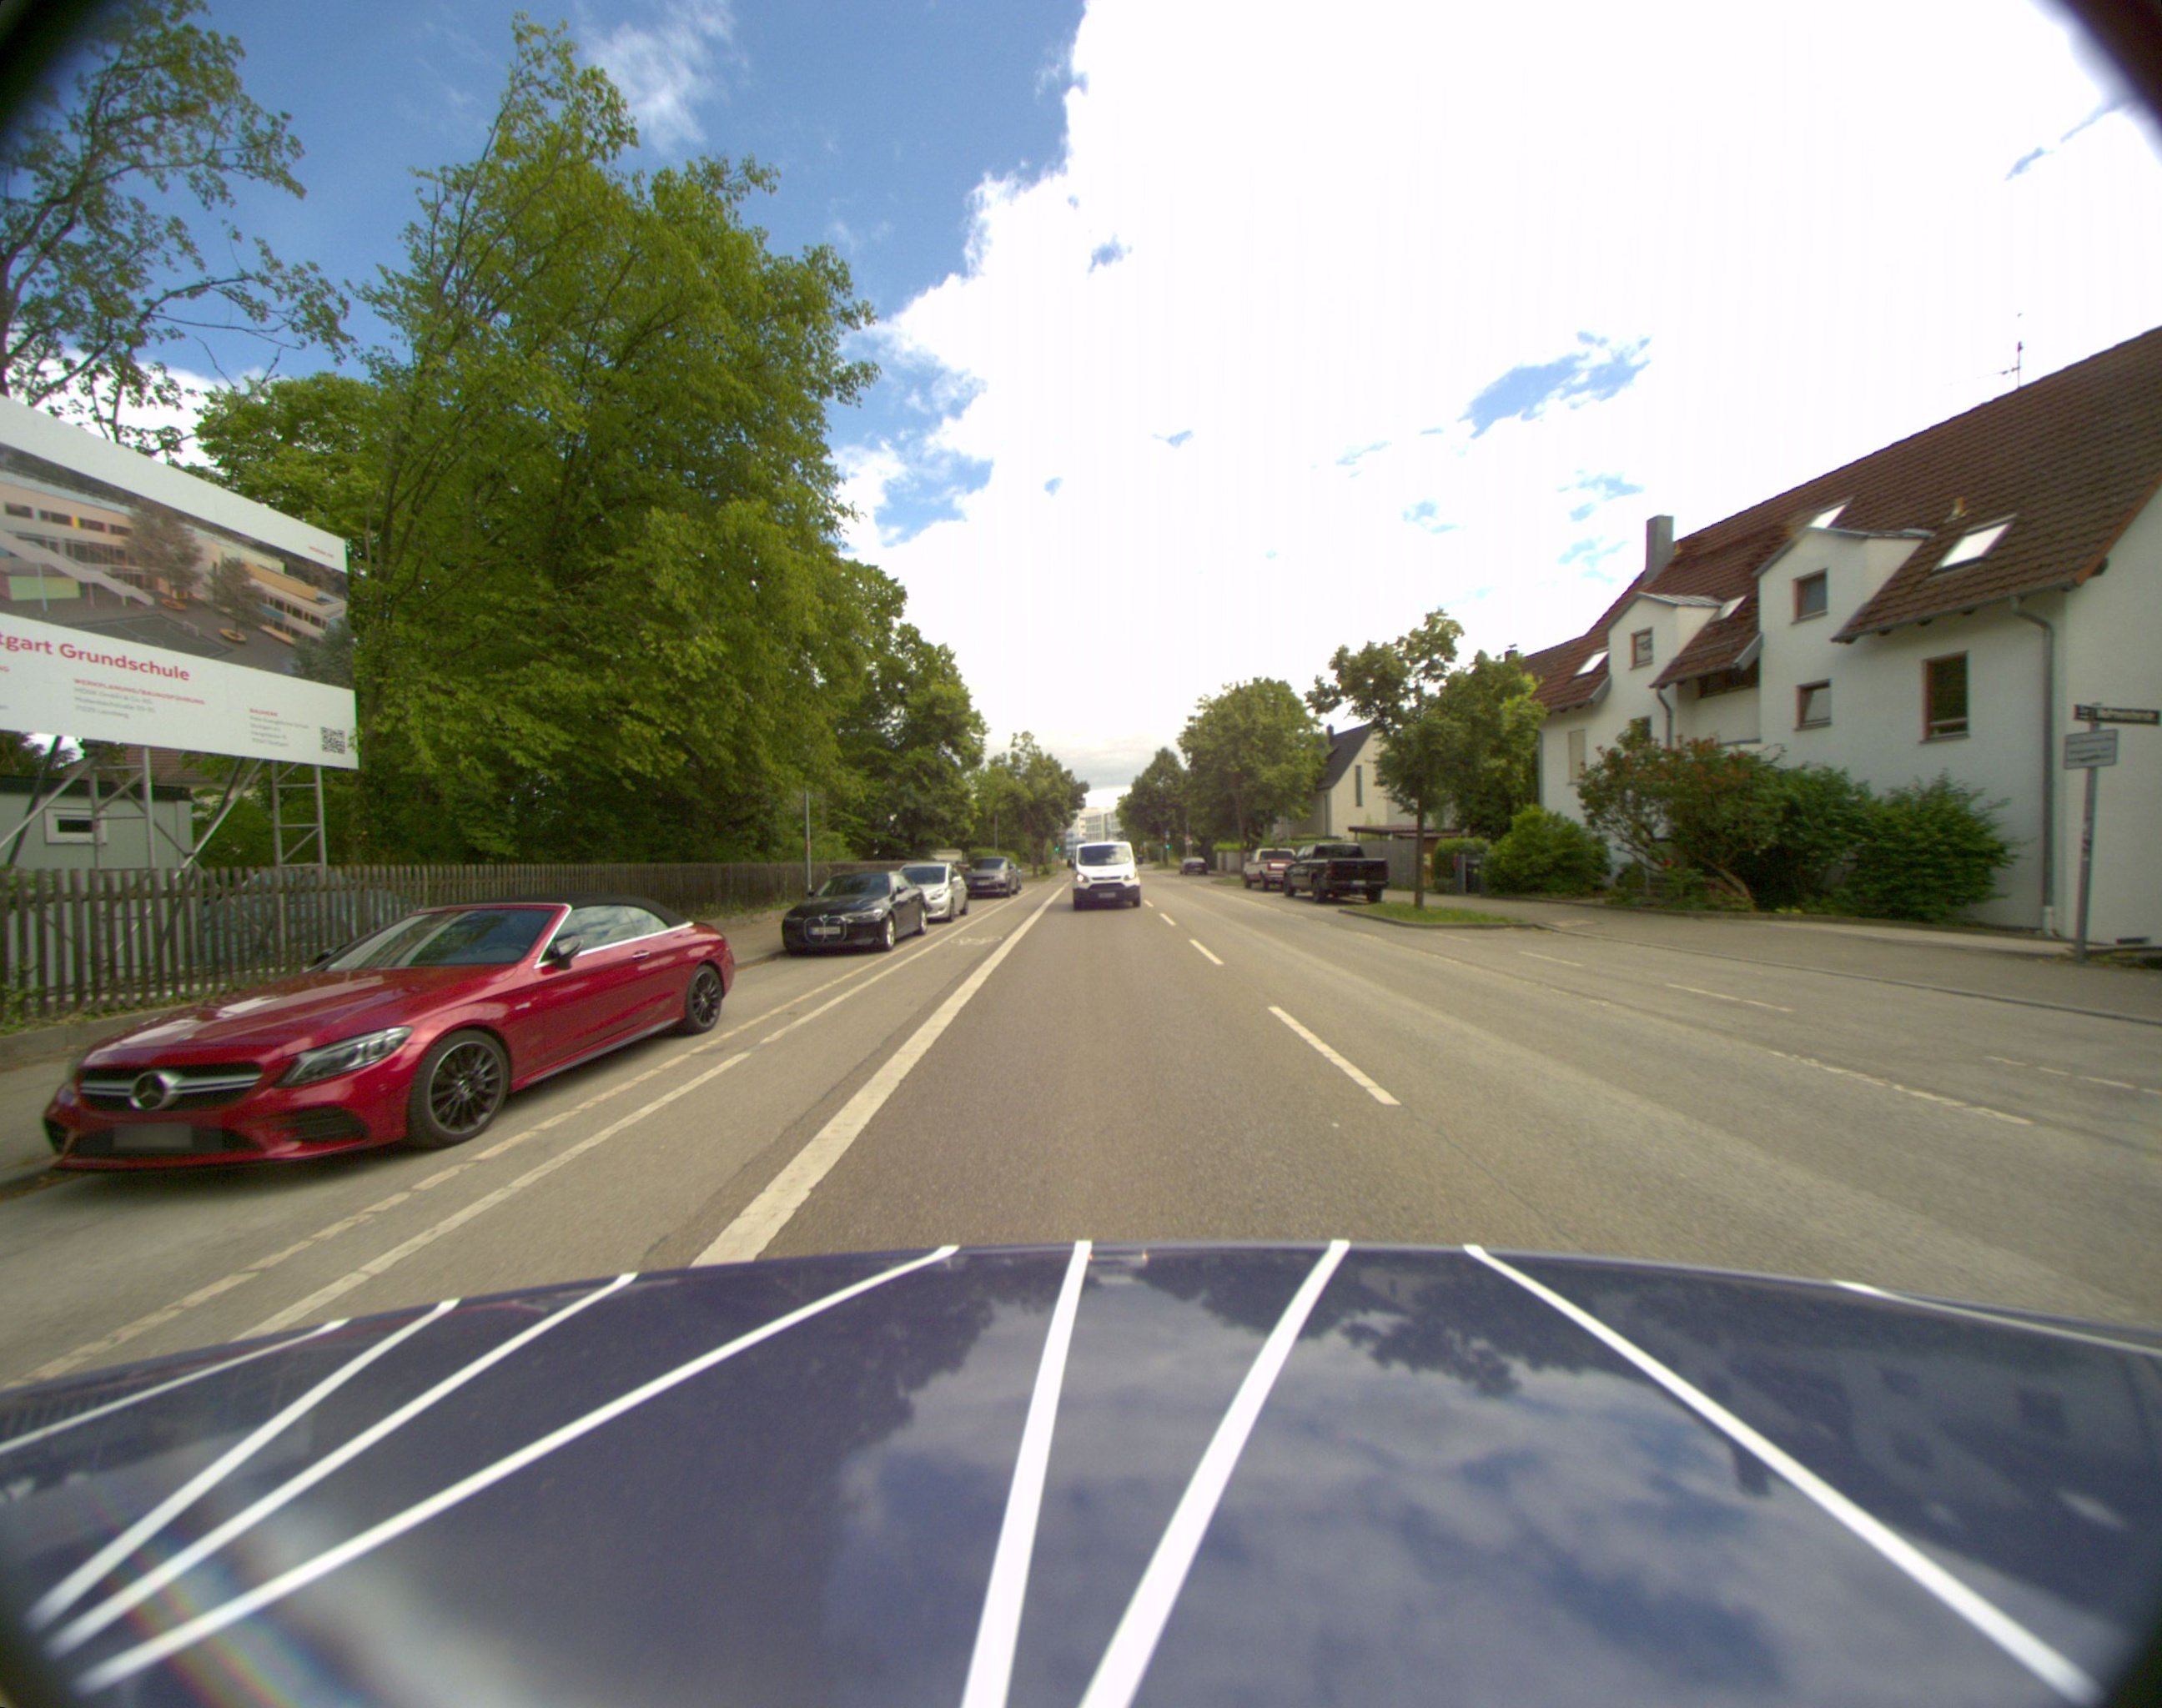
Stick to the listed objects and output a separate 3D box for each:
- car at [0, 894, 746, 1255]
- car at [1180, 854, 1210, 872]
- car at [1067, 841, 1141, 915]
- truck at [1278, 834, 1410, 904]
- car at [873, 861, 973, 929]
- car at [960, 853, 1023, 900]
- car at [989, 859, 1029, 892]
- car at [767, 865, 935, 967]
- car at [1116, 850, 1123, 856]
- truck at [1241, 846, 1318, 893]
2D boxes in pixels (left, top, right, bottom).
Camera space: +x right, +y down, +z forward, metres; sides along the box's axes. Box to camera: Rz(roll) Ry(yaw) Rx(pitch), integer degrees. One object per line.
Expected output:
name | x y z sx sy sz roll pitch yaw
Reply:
car | -4.536 1.157 5.751 1.864 1.405 4.444 -3 0 1
car | 9.218 0.721 61.921 1.750 1.400 4.927 0 0 1
car | 0.701 0.639 23.923 1.998 2.002 5.188 -3 1 1
truck | 8.652 0.435 25.751 2.429 2.031 5.995 -1 0 0
car | -4.238 1.034 21.066 1.867 1.580 4.421 -2 0 -1
car | -3.785 0.903 33.107 1.998 1.805 4.827 -2 1 1
car | -3.663 1.074 39.108 1.689 1.493 3.920 -2 1 -1
car | -4.302 1.078 15.098 1.820 1.506 4.679 -3 1 0
car | 9.470 -0.246 187.588 1.786 1.622 4.001 -1 0 4
truck | 8.587 0.606 33.412 1.971 1.857 5.664 1 0 1
